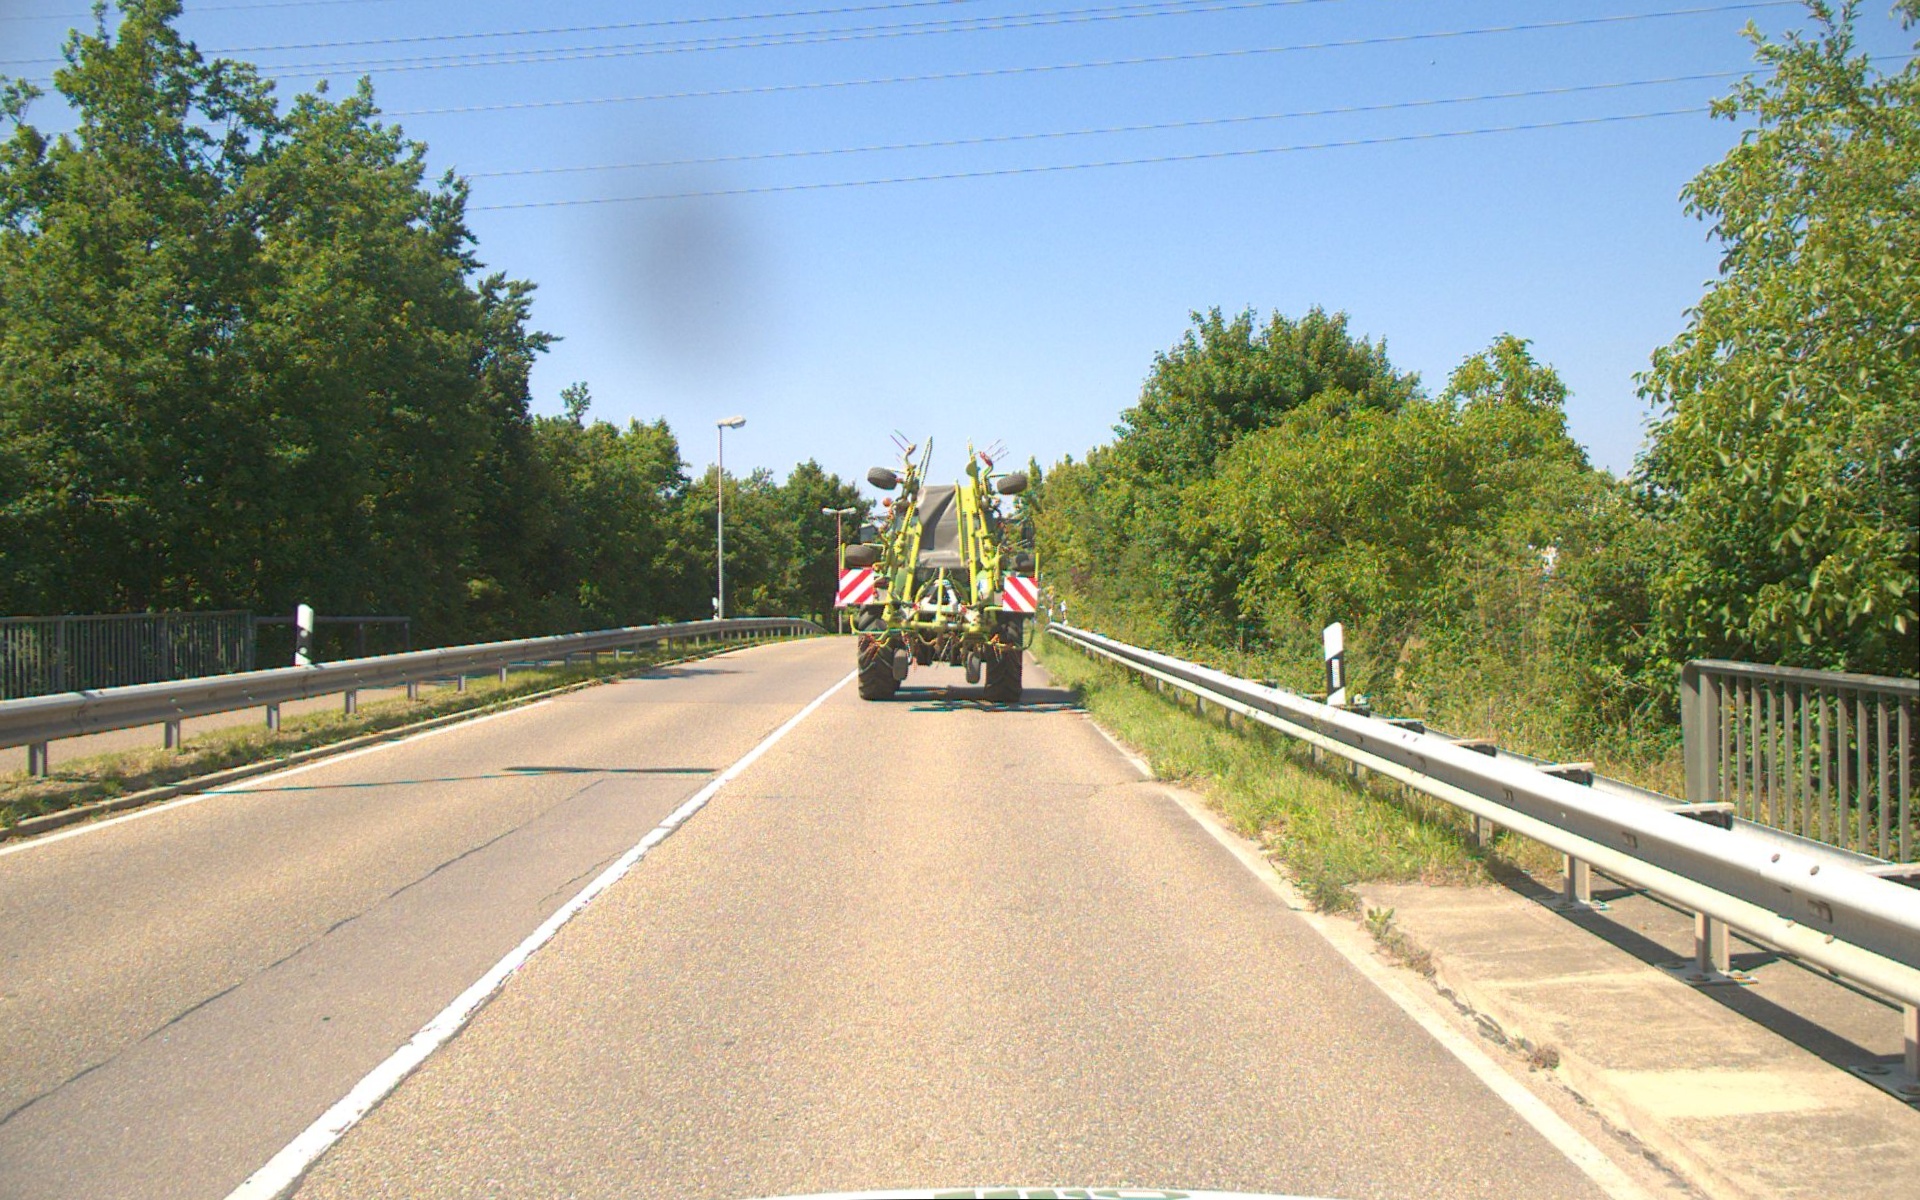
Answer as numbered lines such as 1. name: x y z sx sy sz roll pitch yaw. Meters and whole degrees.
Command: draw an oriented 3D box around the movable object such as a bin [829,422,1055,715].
1. movable object such as a bin: -0.227 -0.413 22.757 2.699 3.504 5.670 0 1 0
